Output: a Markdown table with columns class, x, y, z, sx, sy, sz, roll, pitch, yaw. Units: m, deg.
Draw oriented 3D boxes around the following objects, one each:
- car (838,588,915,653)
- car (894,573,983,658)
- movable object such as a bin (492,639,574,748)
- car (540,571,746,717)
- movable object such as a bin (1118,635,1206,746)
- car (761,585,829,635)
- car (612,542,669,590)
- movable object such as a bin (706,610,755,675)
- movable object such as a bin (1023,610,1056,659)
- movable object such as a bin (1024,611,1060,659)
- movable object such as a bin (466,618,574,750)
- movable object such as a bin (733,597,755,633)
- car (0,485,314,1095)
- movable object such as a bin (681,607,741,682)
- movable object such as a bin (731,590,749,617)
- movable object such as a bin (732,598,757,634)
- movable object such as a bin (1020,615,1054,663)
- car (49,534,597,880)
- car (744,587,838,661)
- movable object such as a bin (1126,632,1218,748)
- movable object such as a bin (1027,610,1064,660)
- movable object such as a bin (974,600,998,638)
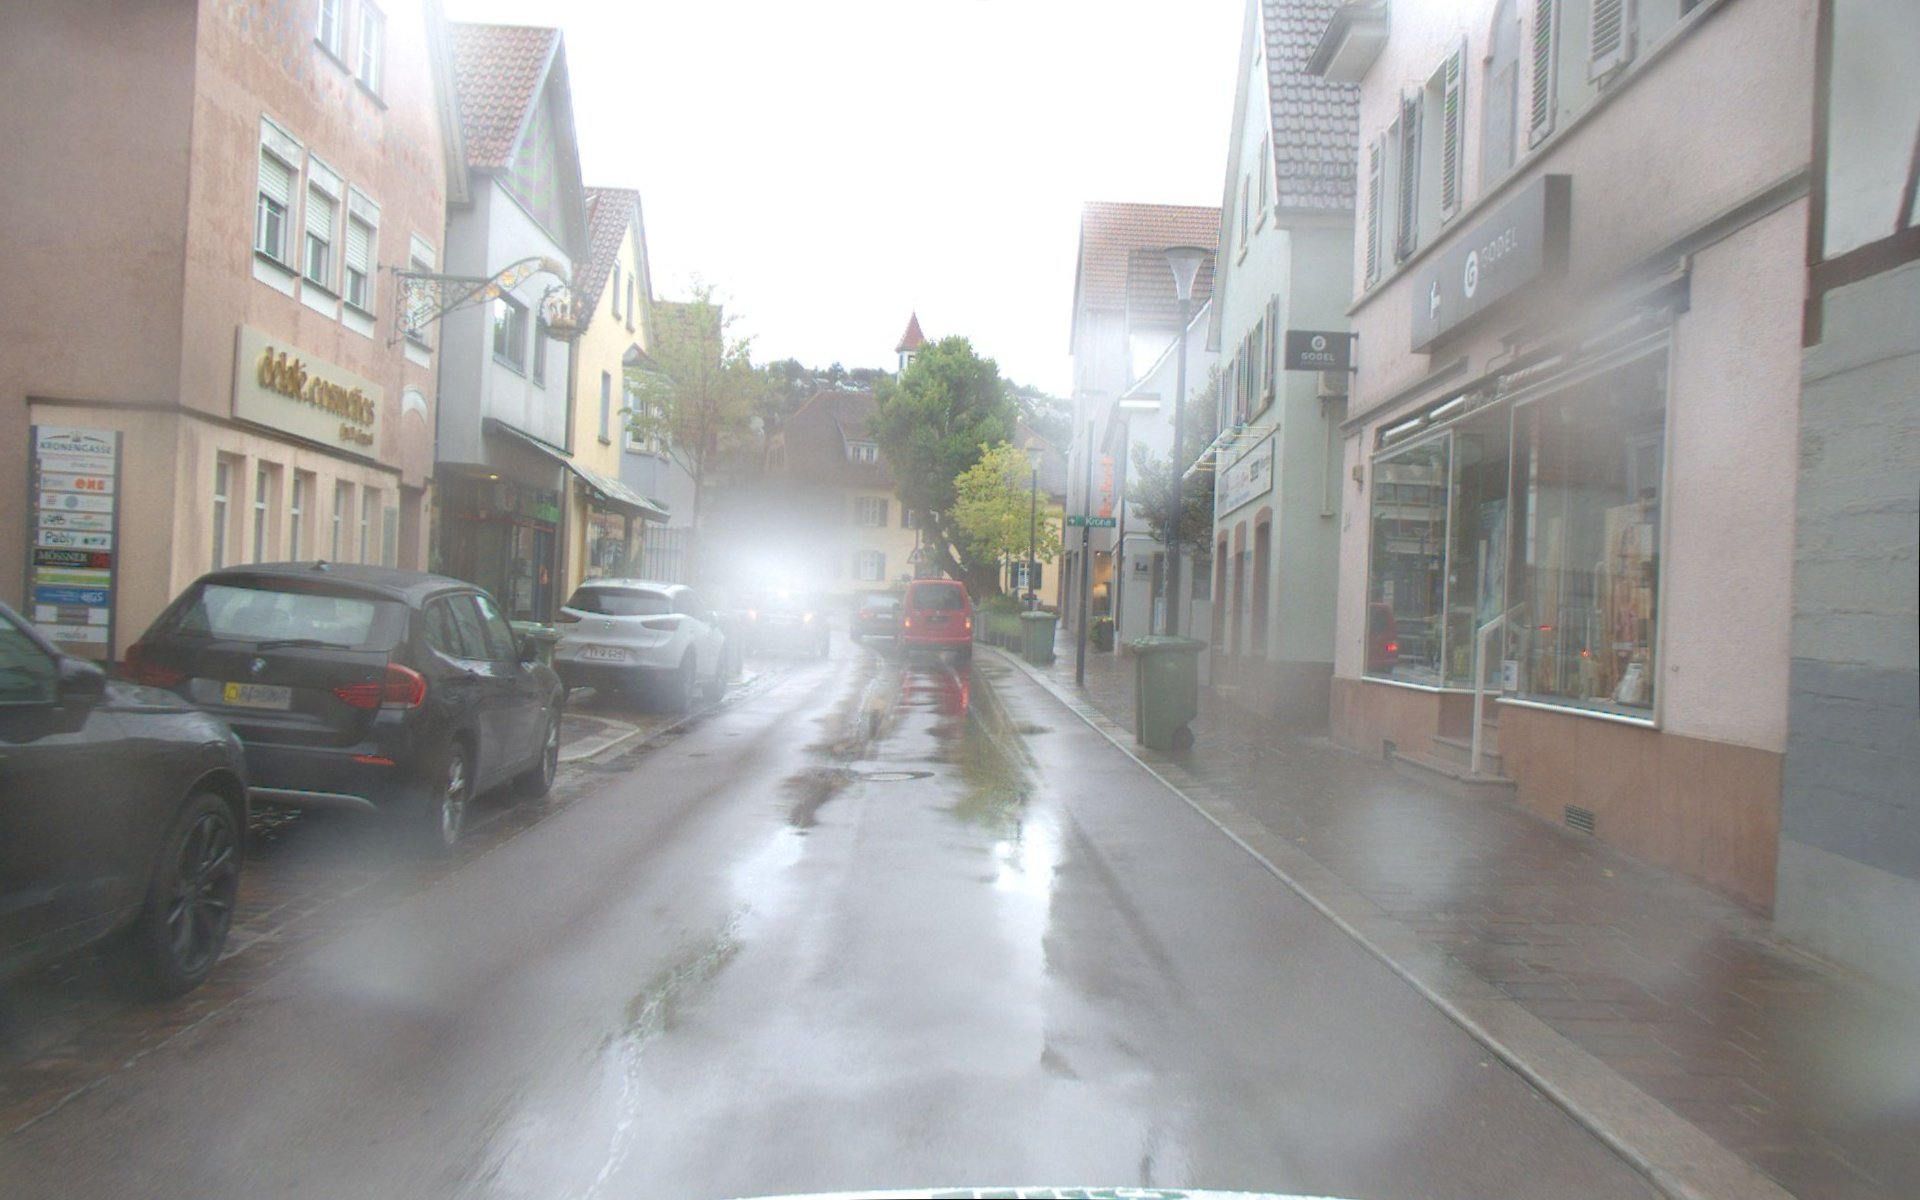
| class | x | y | z | sx | sy | sz | roll | pitch | yaw |
| --- | --- | --- | --- | --- | --- | --- | --- | --- | --- |
| car | -2.629 | 0.656 | 51.424 | 1.956 | 1.831 | 3.992 | 4 | -2 | -8 |
| car | -0.584 | 0.331 | 40.423 | 1.857 | 1.842 | 3.997 | 4 | 1 | -4 |
| movable object such as a bin | -3.929 | 0.855 | 15.238 | 0.597 | 0.955 | 0.499 | 4 | -2 | -5 |
| car | -3.917 | 0.522 | 21.099 | 1.657 | 1.565 | 4.121 | 4 | 0 | 1 |
| movable object such as a bin | 2.092 | 0.927 | 17.180 | 0.780 | 1.099 | 0.582 | 2 | -1 | -4 |
| car | -5.817 | 0.327 | 57.979 | 1.757 | 1.521 | 3.986 | 4 | 0 | -14 |
| car | -19.614 | -2.013 | 101.299 | 2.266 | 2.647 | 6.916 | 4 | -2 | -20 |
| movable object such as a bin | -3.995 | 0.739 | 28.846 | 0.695 | 1.071 | 0.704 | 3 | -2 | 0 |
| movable object such as a bin | 1.901 | 0.829 | 39.490 | 0.714 | 1.110 | 0.521 | 3 | -2 | 0 |
| movable object such as a bin | 1.925 | 0.819 | 38.891 | 0.739 | 1.082 | 0.600 | 3 | -2 | 0 |
| movable object such as a bin | -3.868 | 0.730 | 14.585 | 0.754 | 1.101 | 0.675 | 3 | -2 | -5 |
| movable object such as a bin | -7.088 | 0.486 | 54.216 | 0.647 | 1.129 | 0.614 | 4 | -2 | -8 |
| car | -3.517 | 0.480 | 4.425 | 1.787 | 1.695 | 4.641 | 4 | 0 | -2 |
| movable object such as a bin | -3.953 | 0.705 | 26.256 | 0.771 | 1.103 | 0.693 | 4 | 1 | 0 |
| movable object such as a bin | -9.716 | 0.167 | 73.144 | 0.701 | 1.125 | 0.598 | 4 | -2 | -11 |
| movable object such as a bin | -6.991 | 0.520 | 53.591 | 0.712 | 1.129 | 0.595 | 4 | -2 | -9 |
| movable object such as a bin | 1.859 | 0.942 | 40.094 | 0.720 | 1.117 | 0.611 | 3 | -2 | -1 |
| car | -3.577 | 0.481 | 10.221 | 1.744 | 1.564 | 4.289 | 4 | 1 | -2 |
| car | -3.794 | 0.502 | 37.621 | 1.657 | 1.468 | 3.884 | 4 | 1 | 0 |
| movable object such as a bin | 2.105 | 0.890 | 16.509 | 0.777 | 1.099 | 0.614 | 2 | -1 | -4 |
| movable object such as a bin | 1.977 | 0.812 | 38.251 | 0.752 | 1.098 | 0.599 | 3 | -2 | 0 |
| movable object such as a bin | 0.841 | 0.614 | 52.711 | 0.620 | 1.170 | 0.578 | 4 | -2 | -8 |
